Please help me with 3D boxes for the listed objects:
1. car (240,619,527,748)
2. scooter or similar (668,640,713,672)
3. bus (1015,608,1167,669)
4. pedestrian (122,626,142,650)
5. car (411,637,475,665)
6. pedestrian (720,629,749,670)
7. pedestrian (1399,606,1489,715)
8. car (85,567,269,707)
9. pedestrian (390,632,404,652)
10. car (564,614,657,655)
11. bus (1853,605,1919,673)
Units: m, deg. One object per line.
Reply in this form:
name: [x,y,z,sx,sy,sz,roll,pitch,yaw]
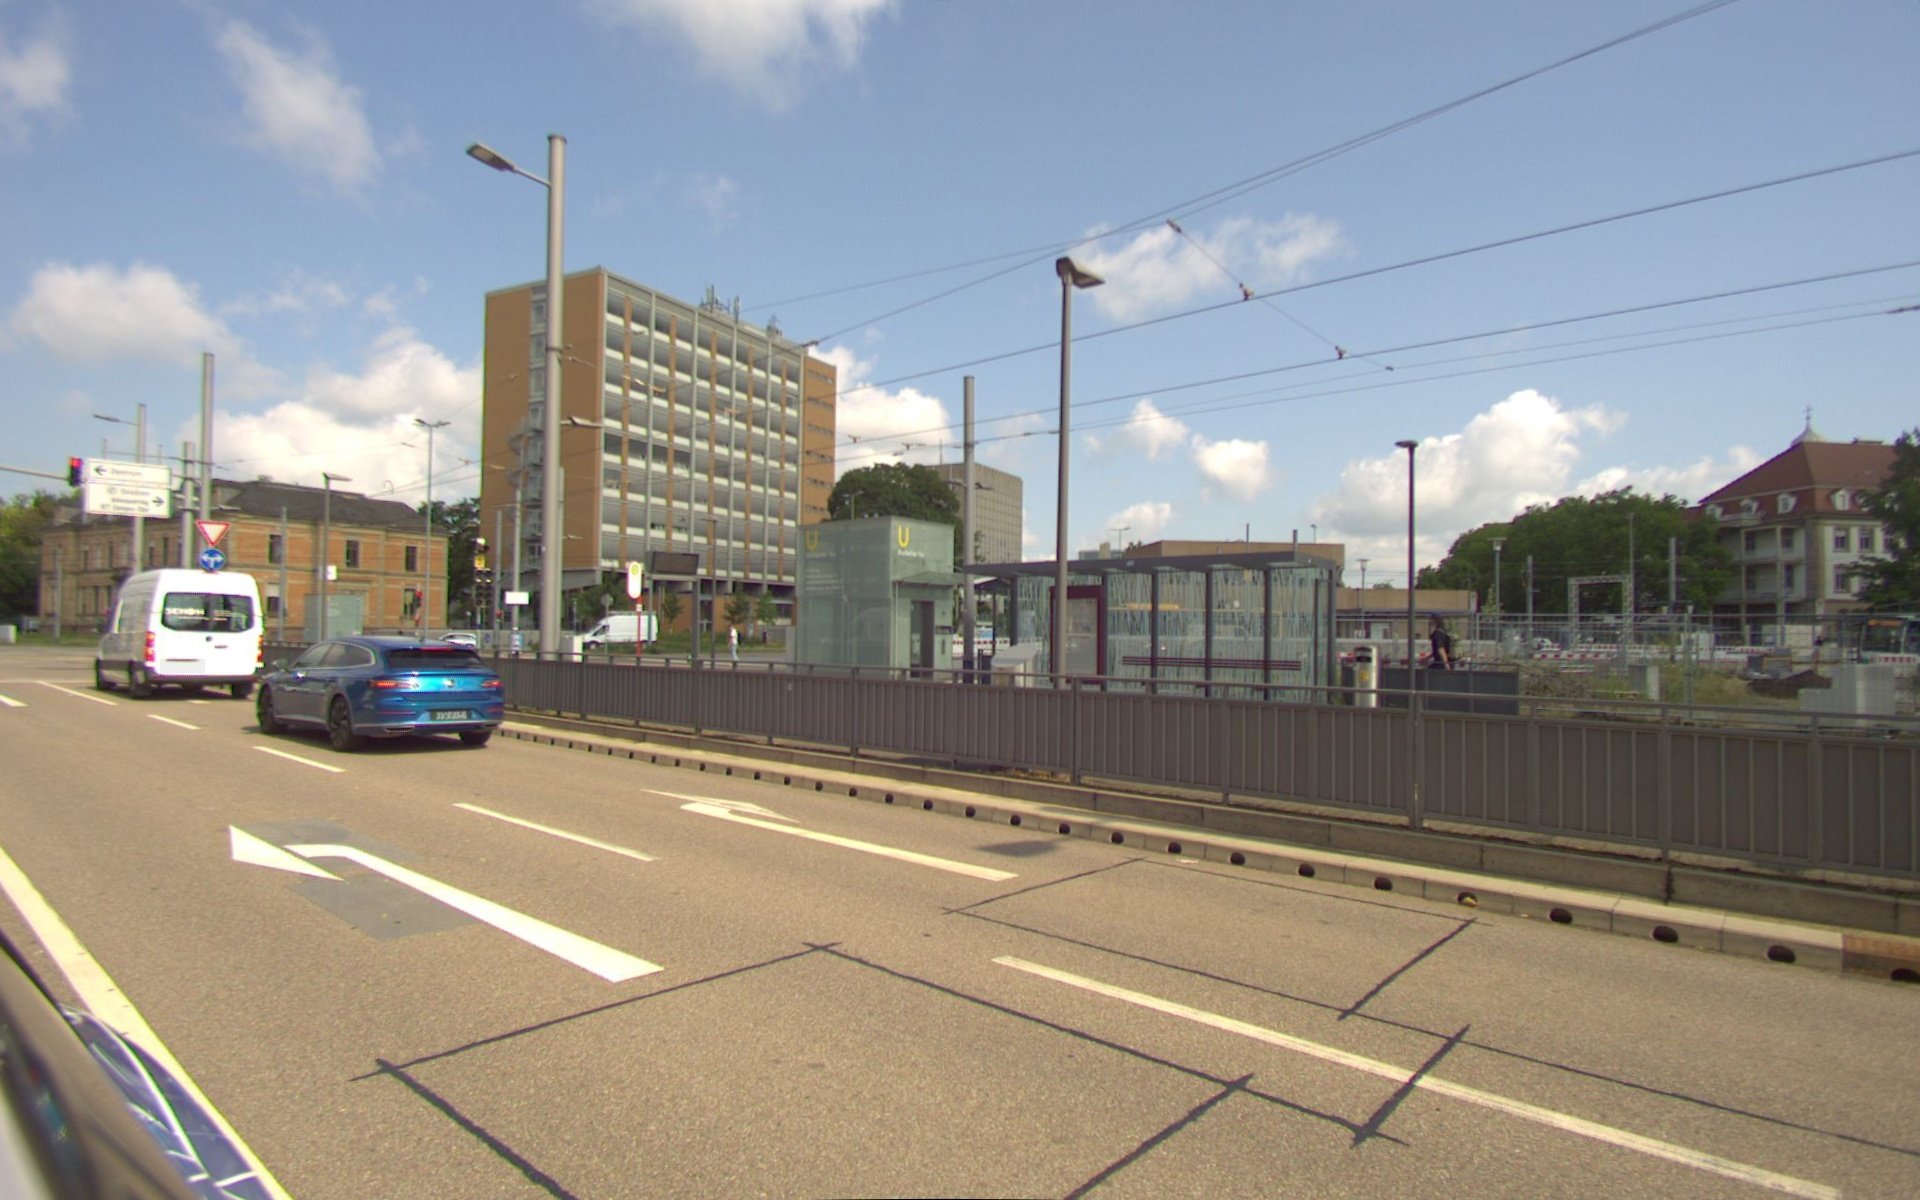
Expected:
car: [-7.891,1.049,13.692,4.550,1.466,1.831,-2,-4,39]
scooter or similar: [-11.664,2.409,43.802,1.495,1.198,1.320,4,3,43]
bus: [6.406,1.905,49.962,6.991,2.855,2.703,1,-2,-5]
pedestrian: [-60.587,2.752,74.032,0.853,1.750,0.778,0,-2,21]
car: [-37.767,3.707,73.958,4.070,1.785,2.006,0,3,-31]
pedestrian: [-9.516,2.077,42.684,1.080,1.702,0.931,-1,-1,-8]
pedestrian: [8.471,1.050,17.729,0.985,1.813,1.047,-1,-3,-43]
car: [-16.930,0.788,21.768,5.576,2.642,1.973,-1,-3,41]
pedestrian: [-44.210,3.297,79.445,0.752,1.600,0.775,1,-2,-13]
car: [-25.813,2.587,74.824,6.046,2.901,2.493,2,-3,-34]
bus: [55.095,2.139,54.424,12.067,3.534,2.968,1,-2,-5]
